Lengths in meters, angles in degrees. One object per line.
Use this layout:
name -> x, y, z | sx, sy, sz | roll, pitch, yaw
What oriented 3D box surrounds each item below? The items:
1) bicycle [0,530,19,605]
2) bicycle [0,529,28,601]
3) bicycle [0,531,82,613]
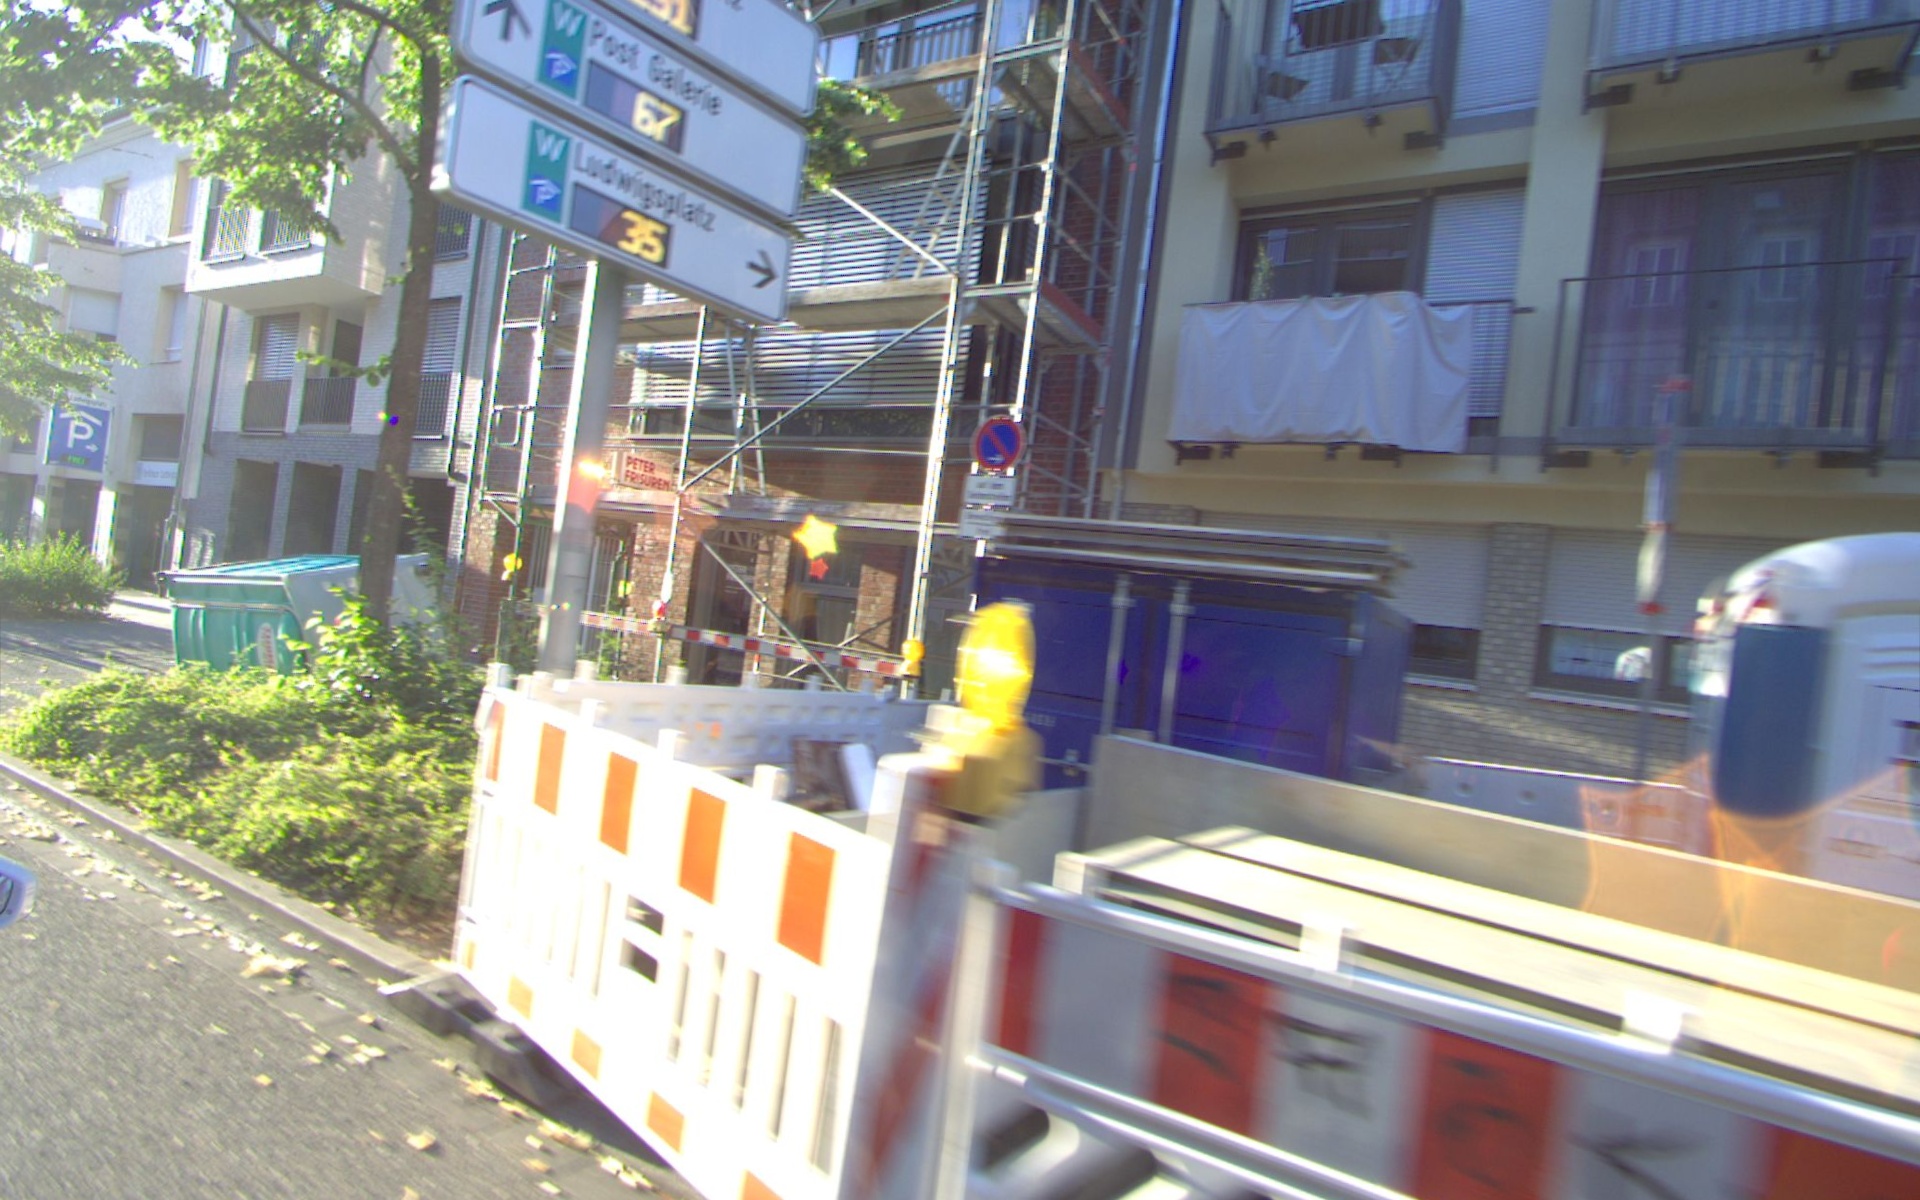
bicycle -> -15.217, -0.574, 15.539 | 1.496, 1.113, 0.383 | 7, 0, 25
bicycle -> -15.984, -0.624, 16.556 | 1.497, 1.113, 0.382 | 6, -1, 28
bicycle -> -14.389, -0.447, 15.733 | 1.497, 1.113, 0.382 | 7, 0, 28
